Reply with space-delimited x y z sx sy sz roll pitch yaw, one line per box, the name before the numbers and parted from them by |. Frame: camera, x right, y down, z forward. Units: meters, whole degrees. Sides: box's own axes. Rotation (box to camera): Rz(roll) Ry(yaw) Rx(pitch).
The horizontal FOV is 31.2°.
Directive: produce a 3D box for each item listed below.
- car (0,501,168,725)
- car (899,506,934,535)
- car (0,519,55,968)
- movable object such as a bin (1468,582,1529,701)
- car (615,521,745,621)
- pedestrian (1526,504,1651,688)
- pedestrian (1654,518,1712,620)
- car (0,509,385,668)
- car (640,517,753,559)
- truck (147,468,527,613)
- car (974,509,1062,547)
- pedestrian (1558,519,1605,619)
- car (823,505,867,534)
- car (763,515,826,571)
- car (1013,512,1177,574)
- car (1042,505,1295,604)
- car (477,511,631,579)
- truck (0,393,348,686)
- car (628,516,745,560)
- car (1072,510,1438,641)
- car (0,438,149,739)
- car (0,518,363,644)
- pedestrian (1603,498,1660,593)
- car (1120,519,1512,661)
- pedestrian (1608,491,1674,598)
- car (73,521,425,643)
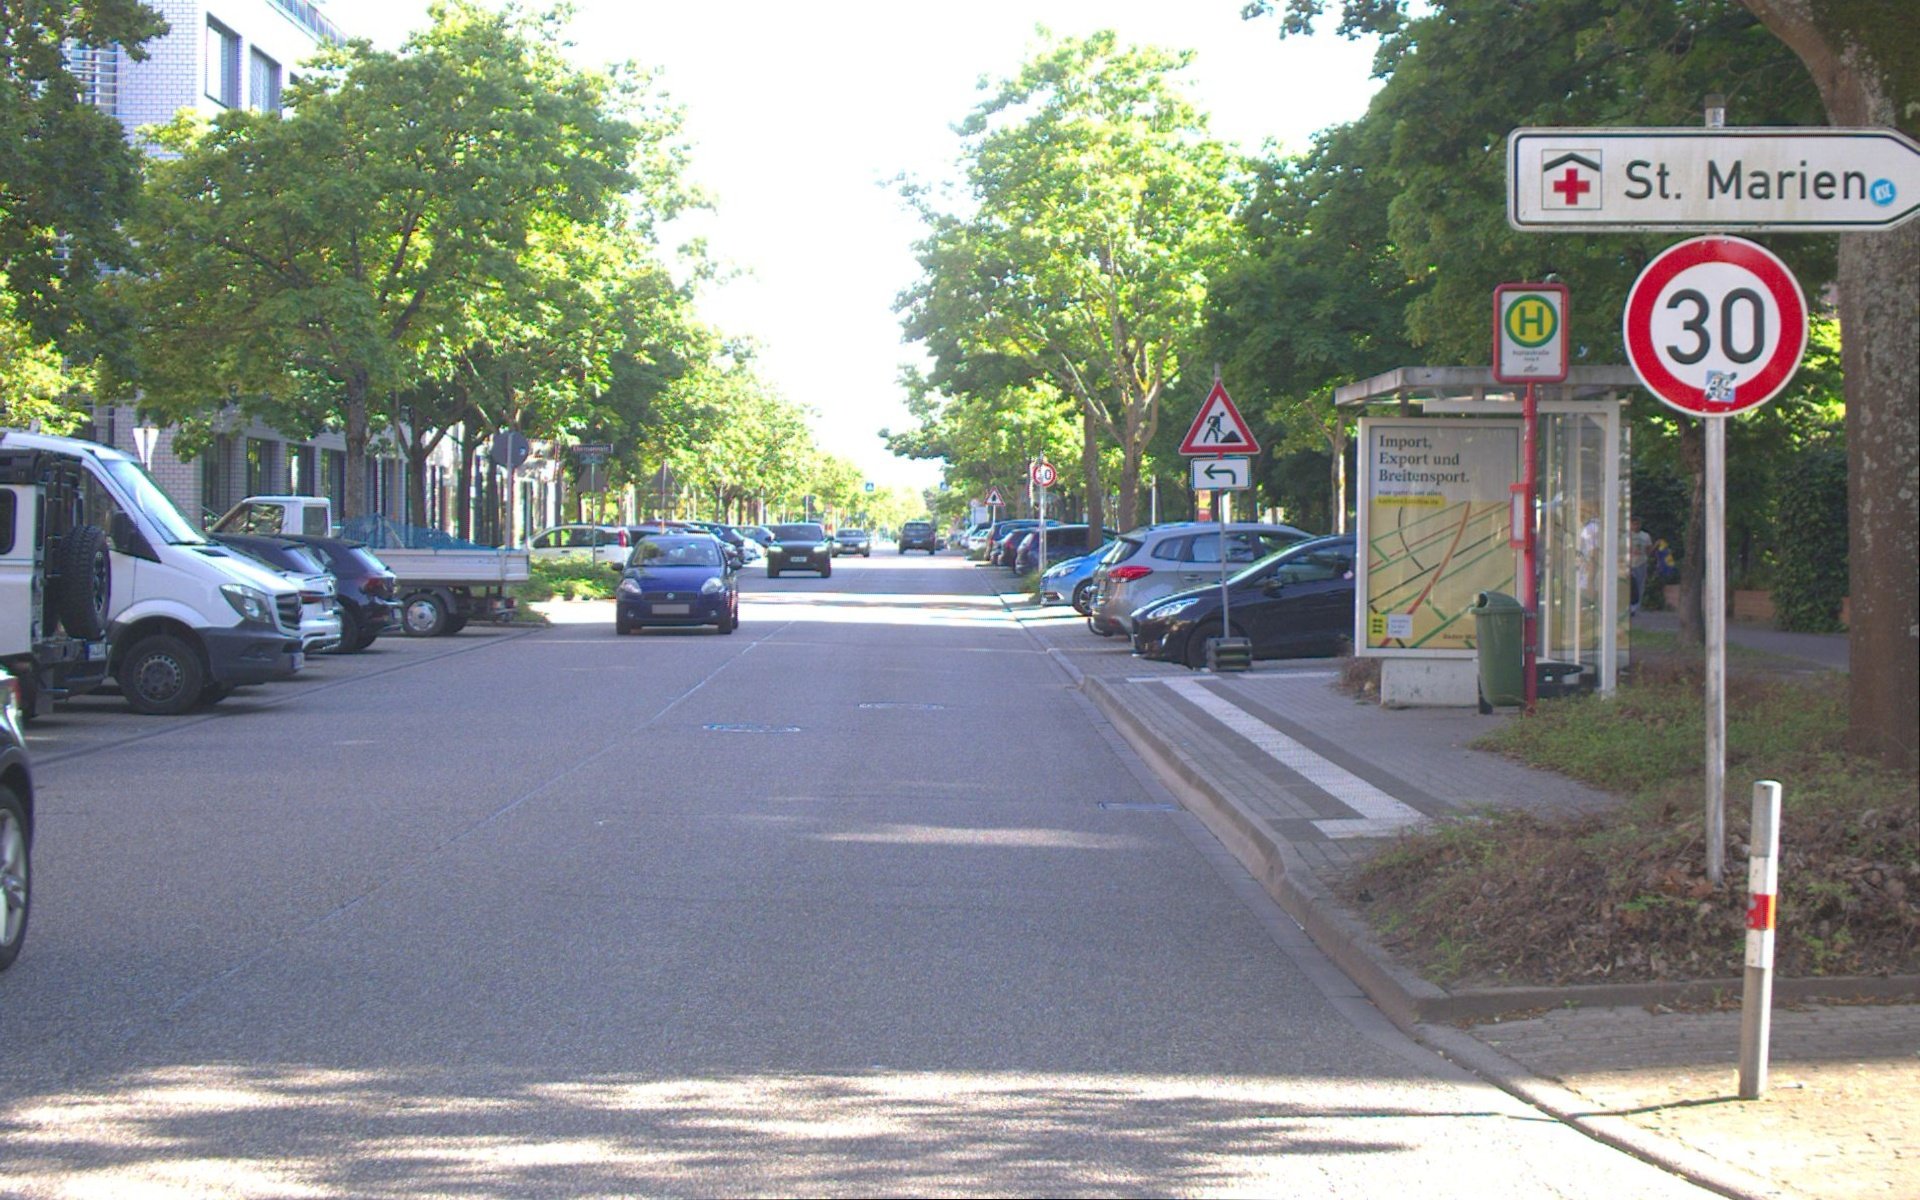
car | -8.473 0.023 26.825 4.107 1.656 2.000 2 1 -2
car | -2.426 -4.471 193.208 1.933 1.592 4.367 0 1 -1
car | -4.094 0.503 10.203 1.779 1.506 4.000 1 1 0
movable object such as a bin | 3.470 0.264 22.179 0.298 0.751 0.467 -2 1 0
car | -4.120 -0.464 51.079 1.643 1.415 4.000 0 1 -1
pedestrian | 6.028 -0.047 32.993 0.917 1.705 0.698 -3 2 -13
pedestrian | 11.138 -0.483 52.972 0.756 1.547 0.559 0 1 -3
car | -8.384 -0.146 35.575 4.540 1.437 1.890 2 2 -2
car | -9.335 -2.206 122.095 3.892 1.459 1.858 1 1 -1
truck | -8.832 -0.860 49.012 4.985 1.952 2.138 1 1 2
car | 2.763 -3.446 164.154 3.986 1.786 2.000 1 1 -5
pedestrian | 9.590 -0.480 53.062 0.602 1.515 0.594 2 1 5
car | -5.643 -3.958 168.795 1.813 1.410 4.107 1 2 3
car | -5.056 -1.774 105.193 1.891 1.678 4.353 0 1 -2
car | 3.621 -1.555 92.701 4.267 1.628 1.858 0 1 -3
car | 3.753 -0.846 62.546 4.405 1.612 1.912 -2 1 -1
car | -9.846 -1.330 83.576 3.580 1.544 1.637 1 -1 -3
truck | -8.632 -0.557 29.811 6.232 2.413 2.187 1 1 0
car | -9.386 -2.139 118.224 3.892 1.459 1.858 1 1 -1
car | 3.739 -0.331 43.999 4.351 1.592 1.940 1 1 -6
car | -8.276 -0.165 24.540 4.481 2.044 2.000 2 1 -2
car | -9.232 -0.242 40.864 3.987 1.430 1.722 0 2 0
pedestrian | 10.336 -0.844 52.918 0.700 1.453 0.716 0 1 -3
car | 3.762 -0.120 36.766 3.934 1.434 1.775 1 1 -2
pedestrian | 11.145 -0.914 56.263 0.695 1.705 0.921 -3 2 -11
car | -8.886 -0.239 43.139 3.987 1.430 1.789 1 1 4
